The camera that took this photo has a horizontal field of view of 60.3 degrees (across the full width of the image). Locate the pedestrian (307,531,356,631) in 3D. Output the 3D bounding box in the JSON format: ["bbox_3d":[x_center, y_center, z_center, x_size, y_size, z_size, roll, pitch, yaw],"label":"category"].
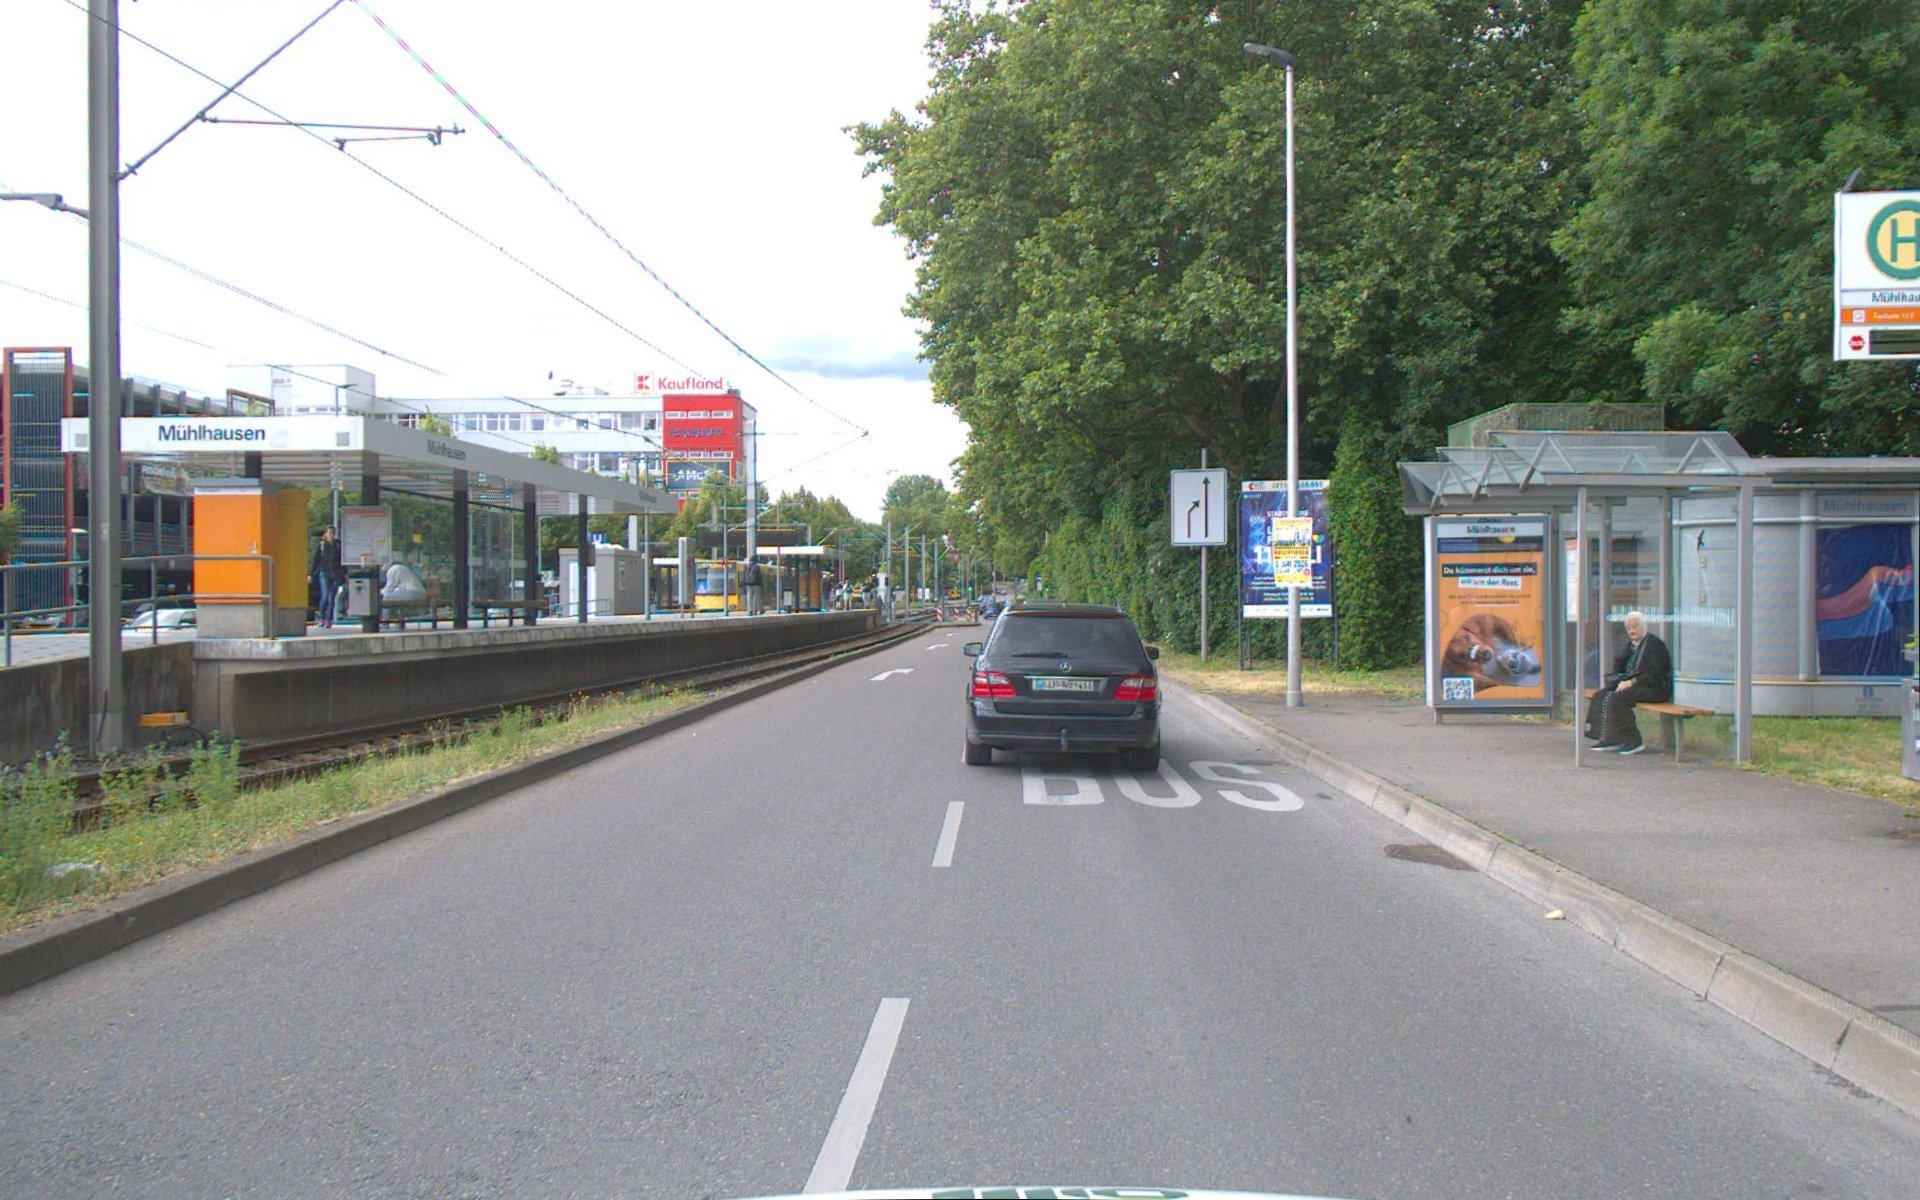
[{"bbox_3d":[-10.486,-0.312,27.603,0.558,1.649,0.586,-1,-1,2],"label":"pedestrian"}]

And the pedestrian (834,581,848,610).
[{"bbox_3d":[-6.139,-0.227,85.299,0.470,1.509,0.537,-1,-1,-29],"label":"pedestrian"}]

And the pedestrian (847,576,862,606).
[{"bbox_3d":[-5.369,-0.475,84.129,0.511,1.508,0.579,-2,-1,40],"label":"pedestrian"}]

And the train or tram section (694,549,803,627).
[{"bbox_3d":[-11.715,-0.648,93.868,2.698,3.950,18.639,-1,0,3],"label":"train or tram section"}]

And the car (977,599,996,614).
[{"bbox_3d":[2.725,0.665,169.033,1.787,1.557,3.929,0,0,3],"label":"car"}]

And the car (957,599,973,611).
[{"bbox_3d":[0.651,0.676,217.590,1.787,1.556,3.929,1,0,3],"label":"car"}]

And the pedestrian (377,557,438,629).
[{"bbox_3d":[-9.444,-0.121,28.279,0.753,1.210,0.728,0,0,5],"label":"pedestrian"}]

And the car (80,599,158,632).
[{"bbox_3d":[-42.404,0.754,83.517,1.740,1.566,4.001,-2,0,2],"label":"car"}]

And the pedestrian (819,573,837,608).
[{"bbox_3d":[-6.513,-0.449,81.478,0.755,1.707,0.791,-1,-1,1],"label":"pedestrian"}]

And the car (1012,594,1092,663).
[{"bbox_3d":[2.191,0.658,40.376,1.787,1.556,4.416,1,0,1],"label":"car"}]

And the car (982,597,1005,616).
[{"bbox_3d":[2.938,0.552,145.297,1.787,1.556,4.418,1,0,3],"label":"car"}]

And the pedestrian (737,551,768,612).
[{"bbox_3d":[-6.132,-0.547,48.943,0.733,1.775,0.937,-1,-1,2],"label":"pedestrian"}]

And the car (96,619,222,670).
[{"bbox_3d":[-23.425,1.274,48.538,1.579,1.373,4.032,0,0,3],"label":"car"}]

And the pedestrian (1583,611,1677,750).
[{"bbox_3d":[5.871,0.697,14.517,0.588,1.178,0.547,-1,0,2],"label":"pedestrian"}]

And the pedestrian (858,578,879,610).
[{"bbox_3d":[-5.001,-0.328,90.378,0.870,1.707,0.733,-1,-1,-45],"label":"pedestrian"}]

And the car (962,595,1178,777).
[{"bbox_3d":[1.047,0.714,16.056,1.795,1.504,4.417,0,0,3],"label":"car"}]

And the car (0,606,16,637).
[{"bbox_3d":[-43.260,0.971,72.150,1.812,1.333,3.801,-2,0,3],"label":"car"}]
